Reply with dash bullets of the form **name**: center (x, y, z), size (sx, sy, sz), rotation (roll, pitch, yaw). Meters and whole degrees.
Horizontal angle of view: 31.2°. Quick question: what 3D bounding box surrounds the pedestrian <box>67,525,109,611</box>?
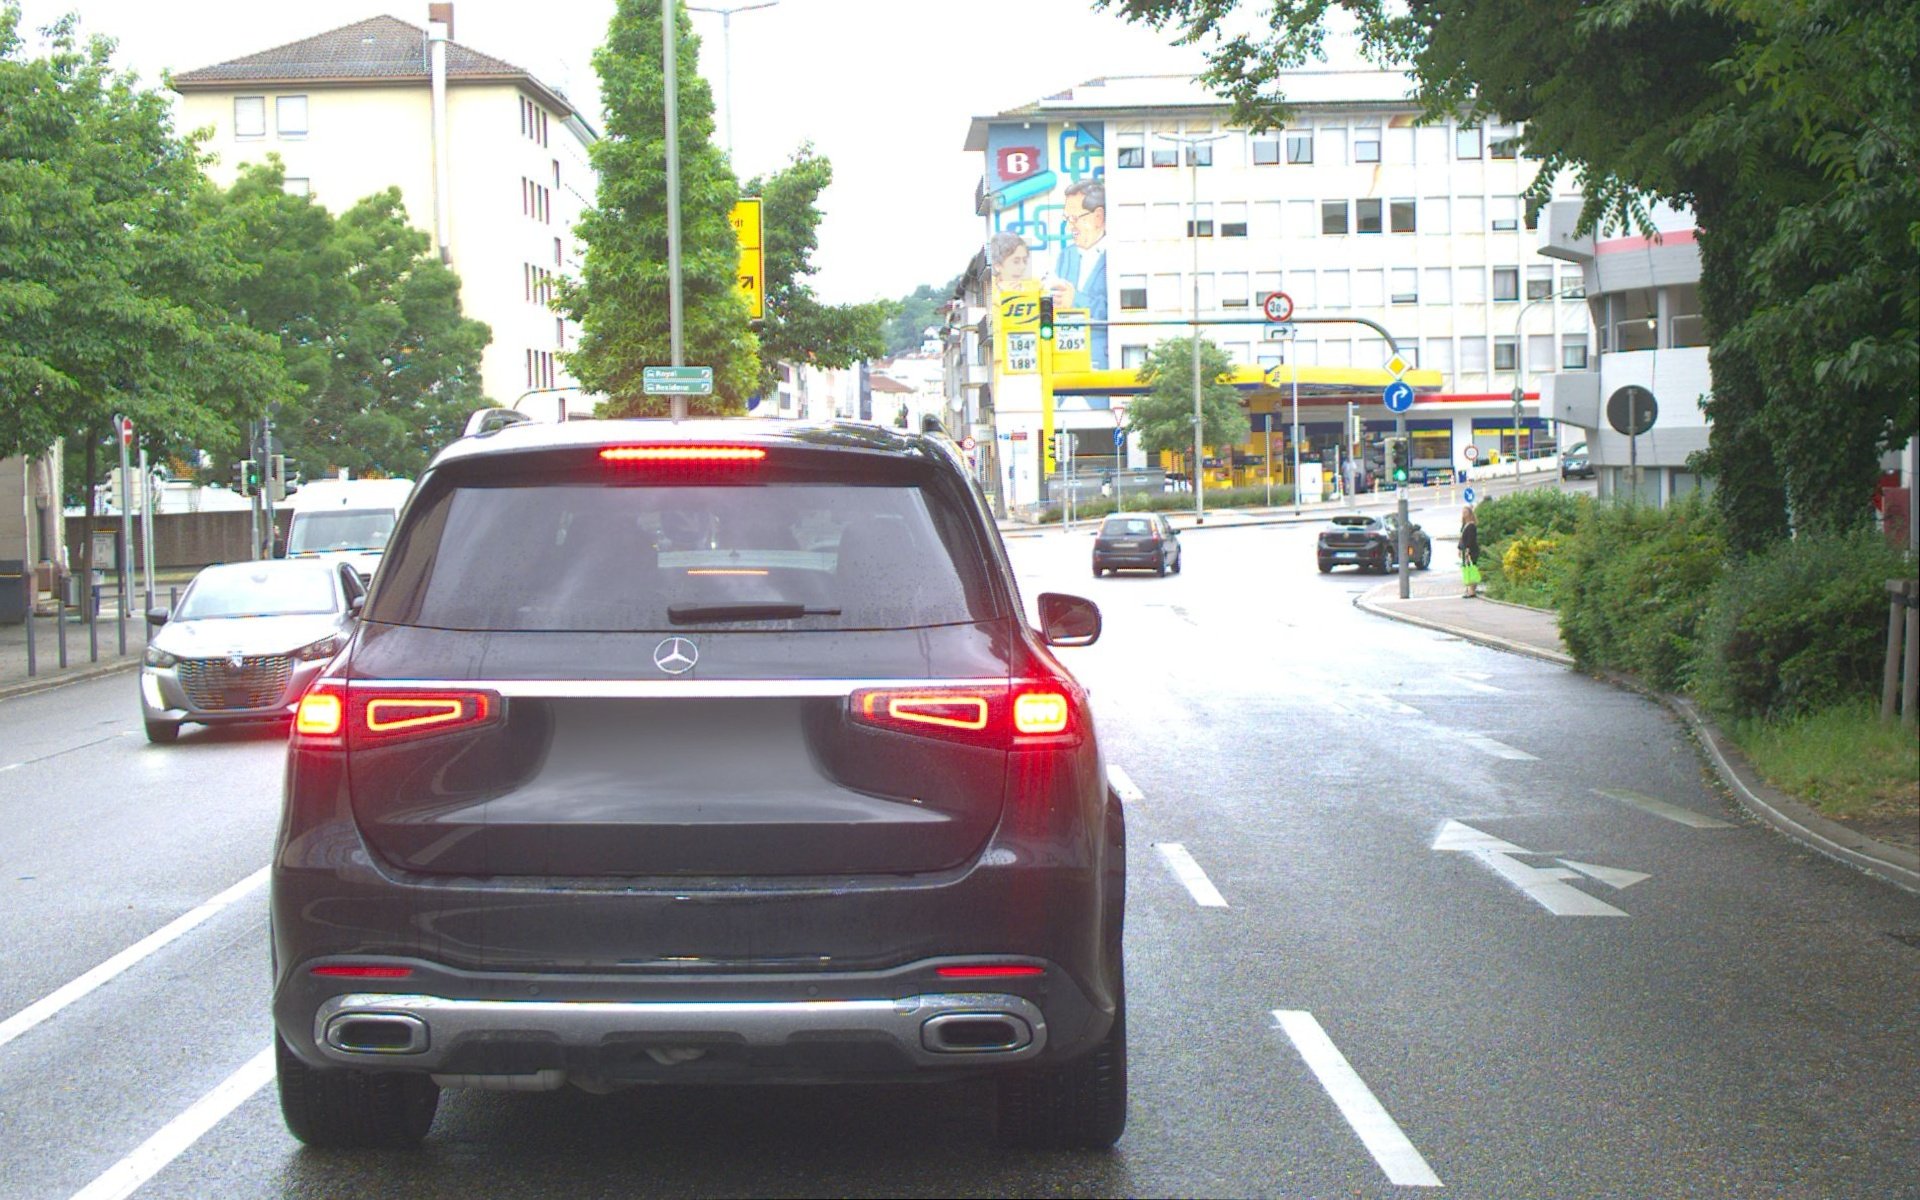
- **pedestrian**: center (-17.072, -0.624, 67.345), size (0.642, 1.660, 1.019), rotation (1, 0, -6)

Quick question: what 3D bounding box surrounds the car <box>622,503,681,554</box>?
- **car**: center (-10.678, -2.452, 119.160), size (1.905, 1.697, 4.001), rotation (1, 1, -3)

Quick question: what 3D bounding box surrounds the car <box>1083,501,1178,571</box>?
- **car**: center (3.951, -1.486, 78.920), size (1.797, 1.520, 4.055), rotation (1, 2, 8)

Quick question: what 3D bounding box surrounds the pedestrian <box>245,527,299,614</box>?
- **pedestrian**: center (-13.546, -0.579, 67.707), size (0.946, 1.699, 0.713), rotation (1, 0, -17)

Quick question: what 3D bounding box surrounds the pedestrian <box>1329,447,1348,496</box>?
- **pedestrian**: center (13.246, -4.499, 120.329), size (0.572, 1.691, 0.631), rotation (1, 0, 1)

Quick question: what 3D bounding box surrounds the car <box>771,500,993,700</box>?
- **car**: center (-0.734, -0.019, 33.228), size (1.993, 1.794, 4.000), rotation (1, 1, -1)

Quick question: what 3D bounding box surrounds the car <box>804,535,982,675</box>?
- **car**: center (-0.744, 0.033, 39.147), size (1.907, 1.496, 4.000), rotation (1, 1, -1)

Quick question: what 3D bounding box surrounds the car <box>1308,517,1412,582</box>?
- **car**: center (9.503, -1.192, 81.510), size (1.947, 1.481, 3.997), rotation (1, 1, 14)

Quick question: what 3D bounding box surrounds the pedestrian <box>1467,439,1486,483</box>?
- **pedestrian**: center (20.554, -5.532, 136.792), size (0.526, 1.721, 0.688), rotation (0, 2, 26)

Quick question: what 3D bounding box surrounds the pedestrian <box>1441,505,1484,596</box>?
- **pedestrian**: center (9.546, -0.939, 65.333), size (0.646, 1.704, 0.470), rotation (0, 0, 36)

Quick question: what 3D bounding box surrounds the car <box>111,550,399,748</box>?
- **car**: center (-5.868, 0.356, 29.024), size (1.741, 1.465, 3.883), rotation (-3, 1, -3)

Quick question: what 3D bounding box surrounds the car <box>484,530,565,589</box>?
- **car**: center (-11.366, -1.049, 89.871), size (1.797, 1.489, 3.804), rotation (1, 1, -3)

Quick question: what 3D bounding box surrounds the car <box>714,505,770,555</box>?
- **car**: center (-7.625, -2.424, 120.364), size (1.905, 1.697, 4.001), rotation (1, 1, -3)

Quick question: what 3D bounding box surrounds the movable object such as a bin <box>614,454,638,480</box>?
- **movable object such as a bin**: center (-13.721, -5.460, 141.169), size (0.910, 1.034, 0.844), rotation (1, 0, 1)

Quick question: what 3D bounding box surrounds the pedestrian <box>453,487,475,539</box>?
- **pedestrian**: center (-16.493, -2.891, 114.298), size (0.648, 1.721, 0.629), rotation (-2, 2, -4)

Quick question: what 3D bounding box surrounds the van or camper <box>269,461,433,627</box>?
- **van or camper**: center (-10.208, -0.948, 58.065), size (2.101, 2.573, 5.909), rotation (-3, 1, -5)

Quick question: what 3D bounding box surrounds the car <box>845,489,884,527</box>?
- **car**: center (-5.232, -5.043, 189.177), size (1.993, 2.007, 4.000), rotation (1, 1, 0)

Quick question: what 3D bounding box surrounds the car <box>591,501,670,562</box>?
- **car**: center (-8.664, -1.791, 90.604), size (1.811, 1.457, 4.289), rotation (-3, 1, -3)

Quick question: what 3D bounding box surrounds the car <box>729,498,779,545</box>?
- **car**: center (-8.290, -3.164, 138.560), size (1.868, 1.833, 3.820), rotation (1, 1, -2)

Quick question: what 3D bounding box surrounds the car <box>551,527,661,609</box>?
- **car**: center (-7.028, -0.657, 68.614), size (1.883, 1.492, 4.563), rotation (-2, 1, -3)

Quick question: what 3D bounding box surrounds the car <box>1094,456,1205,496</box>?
- **car**: center (7.062, -4.628, 128.524), size (1.732, 1.371, 3.998), rotation (-4, 3, -44)

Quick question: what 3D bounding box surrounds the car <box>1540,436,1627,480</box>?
- **car**: center (25.113, -5.724, 138.372), size (1.997, 1.700, 3.993), rotation (-1, 2, 33)

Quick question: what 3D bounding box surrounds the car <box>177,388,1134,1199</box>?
- **car**: center (-0.663, 0.443, 9.239), size (1.993, 1.794, 4.000), rotation (1, 1, -1)
